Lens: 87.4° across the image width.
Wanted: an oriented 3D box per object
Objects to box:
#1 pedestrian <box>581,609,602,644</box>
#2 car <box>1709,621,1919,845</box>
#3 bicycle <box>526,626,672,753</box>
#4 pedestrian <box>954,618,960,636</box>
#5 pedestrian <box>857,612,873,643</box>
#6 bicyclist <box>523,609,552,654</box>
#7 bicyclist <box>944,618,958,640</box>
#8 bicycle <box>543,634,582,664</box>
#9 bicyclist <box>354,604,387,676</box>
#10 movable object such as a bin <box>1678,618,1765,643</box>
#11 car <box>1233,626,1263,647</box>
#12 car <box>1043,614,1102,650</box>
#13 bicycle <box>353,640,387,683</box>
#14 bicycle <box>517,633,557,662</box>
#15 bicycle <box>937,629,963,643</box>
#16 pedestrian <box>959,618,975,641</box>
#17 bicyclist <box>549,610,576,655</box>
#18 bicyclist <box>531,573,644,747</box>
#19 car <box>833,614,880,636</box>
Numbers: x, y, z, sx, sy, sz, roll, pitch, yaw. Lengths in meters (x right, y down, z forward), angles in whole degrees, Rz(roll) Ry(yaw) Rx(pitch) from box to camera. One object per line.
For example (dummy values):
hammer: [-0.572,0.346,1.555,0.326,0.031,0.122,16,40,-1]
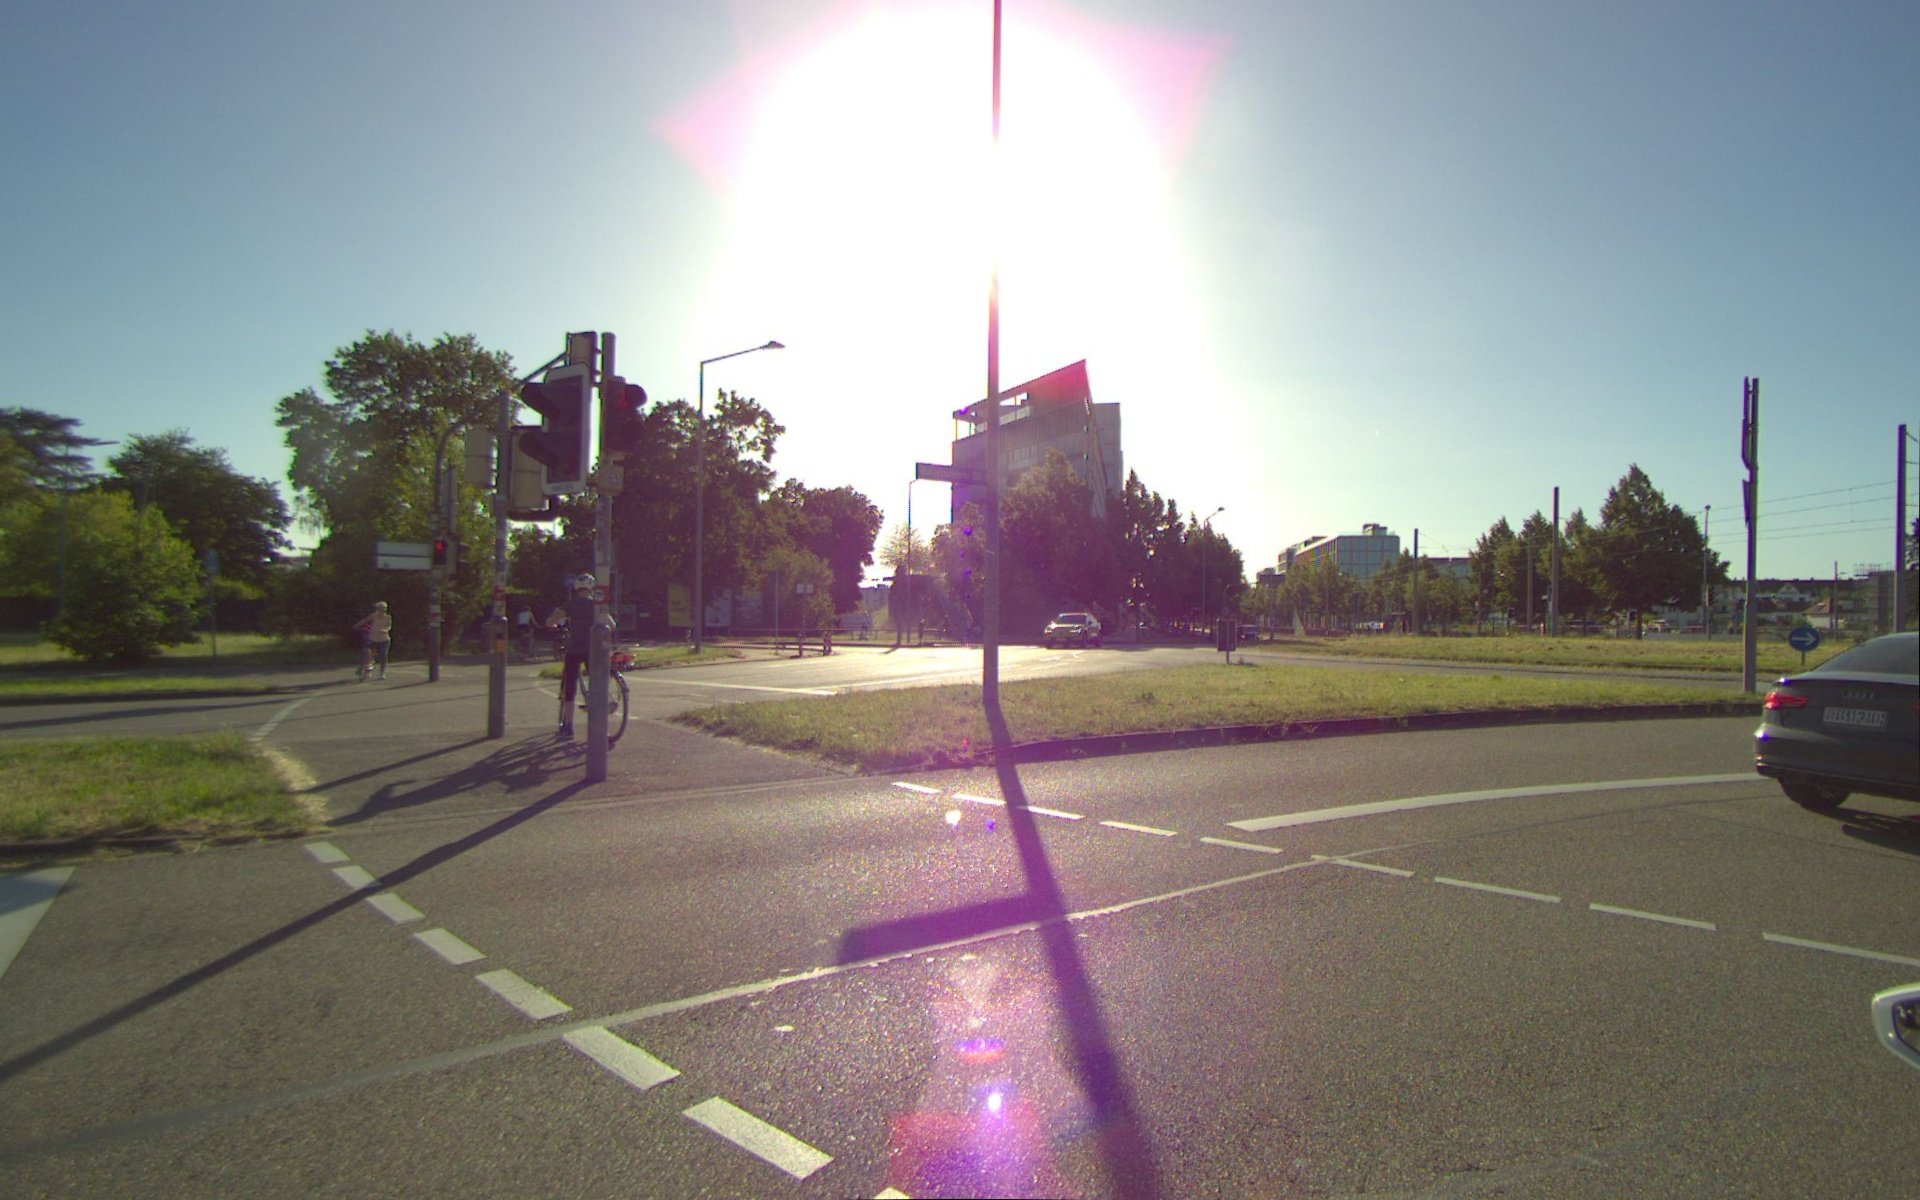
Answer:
pedestrian: [-21.682,1.561,59.090,0.802,2.040,0.902,1,-1,4]
car: [8.021,0.908,7.443,4.288,1.398,1.760,1,-1,-17]
bicycle: [-3.682,0.864,10.186,1.632,1.143,0.700,1,-1,43]
pedestrian: [-0.258,2.513,92.983,0.494,1.711,0.554,0,-1,0]
pedestrian: [-6.284,1.803,66.480,0.579,2.032,0.941,0,-1,34]
bicyclist: [-13.333,0.981,31.708,0.605,1.411,0.837,0,-1,-5]
bicyclist: [-0.684,2.117,73.662,0.652,1.601,0.831,0,-1,38]
bicycle: [-12.450,1.514,31.498,0.605,0.864,1.888,0,-1,-5]
bicyclist: [-13.046,0.872,22.217,0.610,1.537,0.917,1,-1,-32]
movable object such as a bin: [90.806,3.593,119.911,7.771,2.819,2.945,1,-1,13]
car: [27.064,3.392,94.470,2.412,1.808,5.017,1,-1,13]
car: [5.180,1.410,45.678,1.969,1.561,4.327,0,-1,16]
bicycle: [-13.080,1.342,22.255,0.610,0.864,1.873,1,-1,-32]
bicycle: [-13.330,1.480,31.682,0.605,0.864,1.888,0,-1,-5]
bicycle: [-0.717,2.628,73.645,0.652,1.001,2.253,0,-1,38]
pedestrian: [0.503,2.088,72.158,0.871,1.651,0.758,0,-1,38]
bicyclist: [-12.457,1.013,31.507,0.605,1.411,0.718,0,-1,-5]
bicyclist: [-3.827,0.589,10.316,0.929,1.685,0.700,1,-1,43]
car: [-9.075,2.189,88.246,3.707,1.830,1.821,1,-1,-35]
